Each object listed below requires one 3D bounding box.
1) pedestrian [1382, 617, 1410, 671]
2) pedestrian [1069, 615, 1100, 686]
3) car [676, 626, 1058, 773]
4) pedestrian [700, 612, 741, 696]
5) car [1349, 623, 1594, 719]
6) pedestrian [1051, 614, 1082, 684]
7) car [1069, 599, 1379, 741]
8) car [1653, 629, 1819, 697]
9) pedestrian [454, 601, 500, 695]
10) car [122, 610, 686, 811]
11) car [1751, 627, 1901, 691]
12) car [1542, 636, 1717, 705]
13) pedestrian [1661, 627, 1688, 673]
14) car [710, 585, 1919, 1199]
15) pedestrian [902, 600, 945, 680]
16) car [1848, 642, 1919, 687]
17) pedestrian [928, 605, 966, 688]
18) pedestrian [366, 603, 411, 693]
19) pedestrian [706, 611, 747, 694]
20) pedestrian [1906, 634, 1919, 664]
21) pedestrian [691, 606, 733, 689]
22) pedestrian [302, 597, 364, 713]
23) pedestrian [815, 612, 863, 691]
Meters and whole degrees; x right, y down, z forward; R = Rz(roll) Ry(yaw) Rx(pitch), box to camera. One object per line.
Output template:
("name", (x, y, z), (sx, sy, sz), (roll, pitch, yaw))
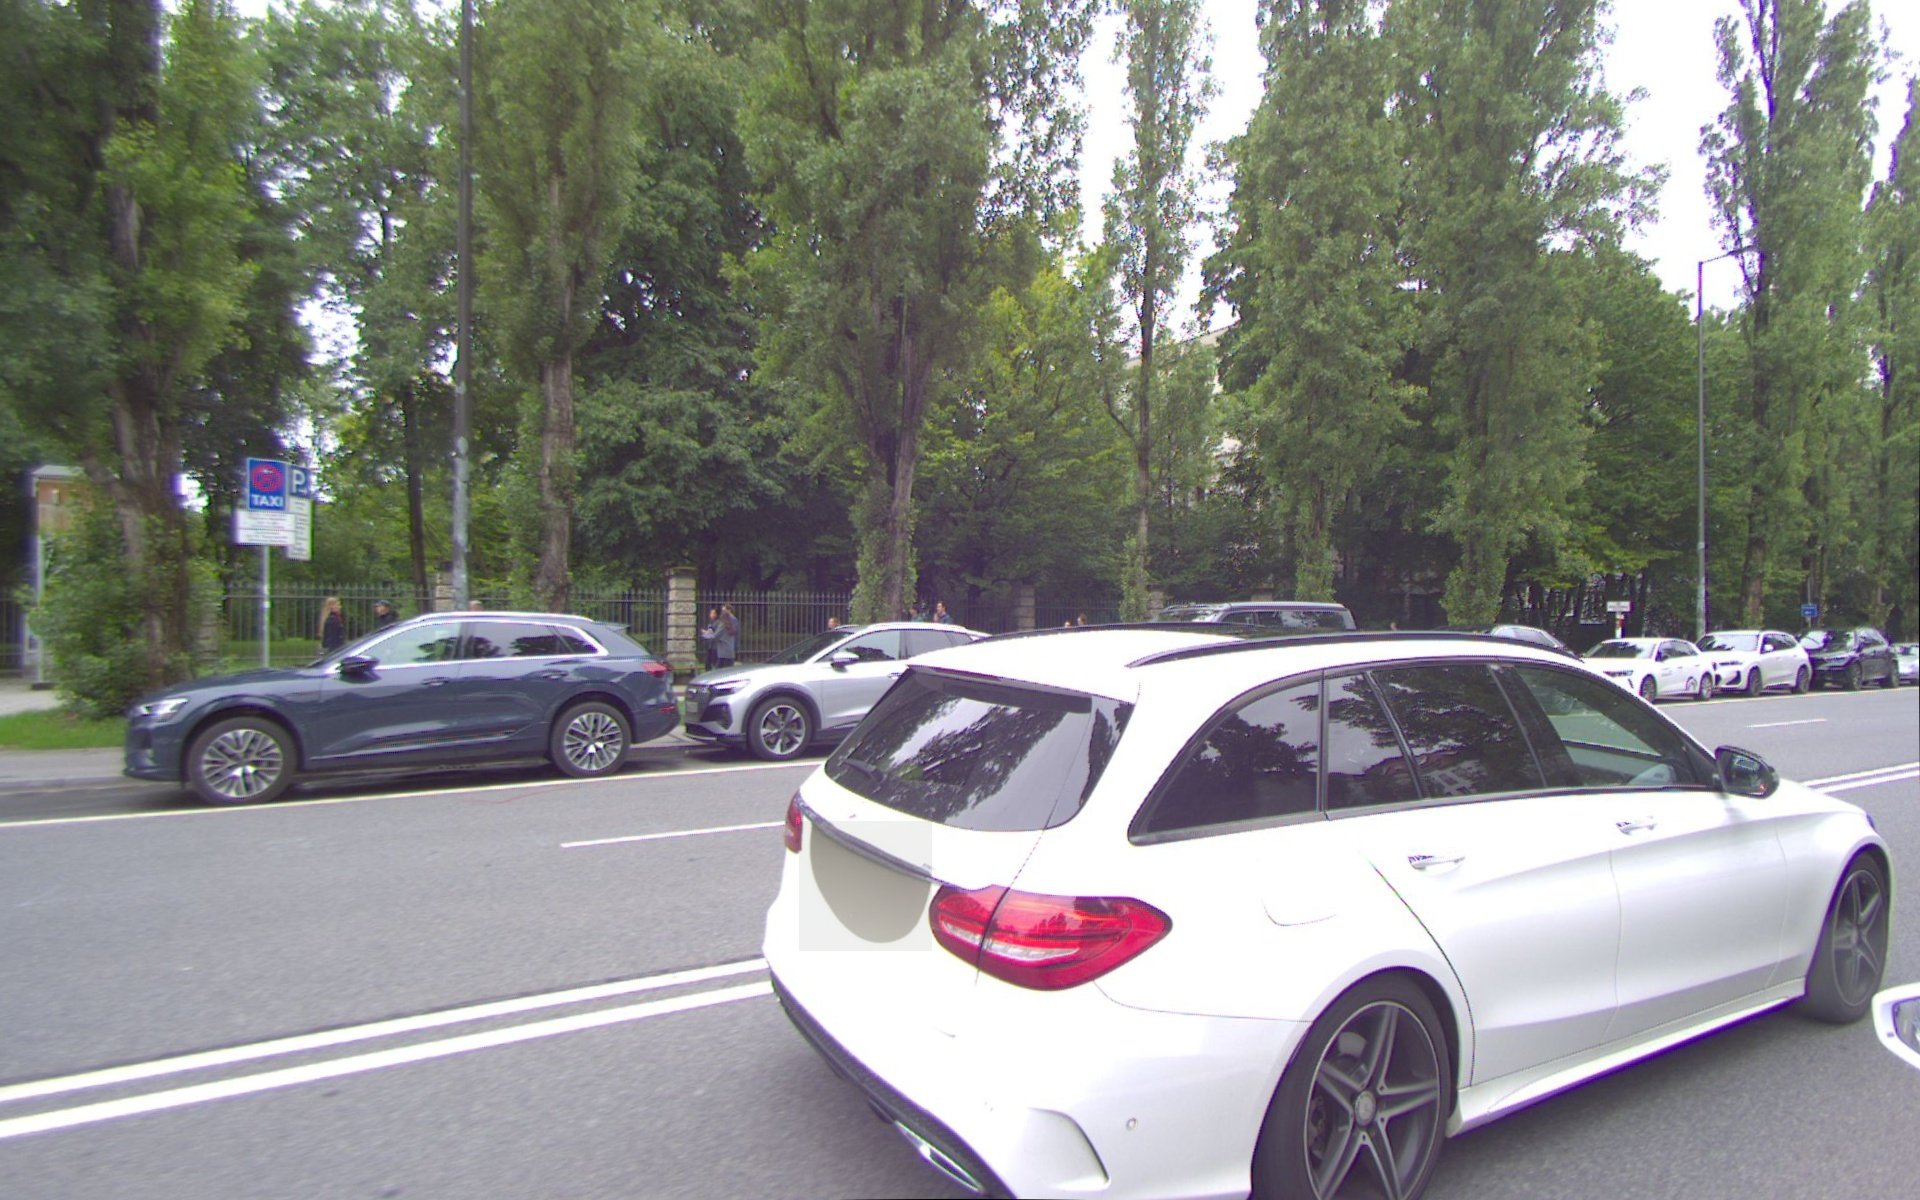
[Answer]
("pedestrian", (14.506, 1.465, 33.413), (0.665, 1.771, 0.546), (1, -1, -31))
("pedestrian", (3.107, 1.250, 24.988), (0.563, 1.730, 0.506), (1, 0, -30))
("car", (-1.130, 1.164, 13.034), (4.601, 1.605, 1.881), (1, -2, -31))
("pedestrian", (-4.927, 1.098, 20.649), (0.665, 1.691, 0.546), (1, 0, -30))
("car", (9.858, 1.312, 19.252), (4.995, 1.629, 1.806), (1, -4, -31))
("pedestrian", (2.699, 1.232, 25.433), (0.563, 1.730, 0.506), (1, 0, -30))
("car", (4.310, 1.055, 16.175), (4.881, 1.982, 1.984), (1, -3, -31))
("car", (19.765, 1.565, 25.544), (4.408, 1.609, 1.777), (1, -3, -30))
("pedestrian", (-8.812, 0.863, 18.333), (0.696, 1.682, 0.615), (1, 0, -30))
("car", (-5.261, 0.966, 10.081), (4.561, 1.617, 1.773), (1, -3, -31))
("car", (24.456, 1.629, 28.337), (4.666, 1.680, 1.870), (1, -4, -32))
("car", (15.162, 1.553, 22.711), (4.189, 1.440, 1.668), (2, -3, -31))
("pedestrian", (28.611, 1.996, 40.207), (0.766, 1.839, 0.637), (1, -1, -31))
("car", (1.588, 0.760, 3.671), (4.530, 1.474, 1.816), (1, 0, -31))
("pedestrian", (-0.882, 0.955, 24.108), (0.748, 1.879, 0.743), (1, 0, -30))
("car", (29.533, 1.974, 31.330), (3.981, 1.321, 1.573), (1, -3, -30))
("pedestrian", (-0.300, 1.075, 23.379), (0.714, 1.884, 0.506), (1, 0, -30))
("pedestrian", (-10.556, 0.879, 18.562), (0.696, 1.617, 0.615), (1, 0, -29))
("pedestrian", (-4.953, 1.102, 21.310), (0.714, 1.730, 0.506), (1, 0, -30))
("pedestrian", (56.023, 2.868, 58.901), (0.633, 1.762, 0.596), (1, -1, -31))
("pedestrian", (-5.376, 1.020, 21.796), (0.724, 1.745, 0.664), (1, -1, -30))
("pedestrian", (-9.721, 0.841, 15.584), (0.778, 1.743, 0.579), (1, 0, -32))
("pedestrian", (-2.605, 1.093, 21.625), (0.782, 1.639, 0.706), (1, -1, -31))
